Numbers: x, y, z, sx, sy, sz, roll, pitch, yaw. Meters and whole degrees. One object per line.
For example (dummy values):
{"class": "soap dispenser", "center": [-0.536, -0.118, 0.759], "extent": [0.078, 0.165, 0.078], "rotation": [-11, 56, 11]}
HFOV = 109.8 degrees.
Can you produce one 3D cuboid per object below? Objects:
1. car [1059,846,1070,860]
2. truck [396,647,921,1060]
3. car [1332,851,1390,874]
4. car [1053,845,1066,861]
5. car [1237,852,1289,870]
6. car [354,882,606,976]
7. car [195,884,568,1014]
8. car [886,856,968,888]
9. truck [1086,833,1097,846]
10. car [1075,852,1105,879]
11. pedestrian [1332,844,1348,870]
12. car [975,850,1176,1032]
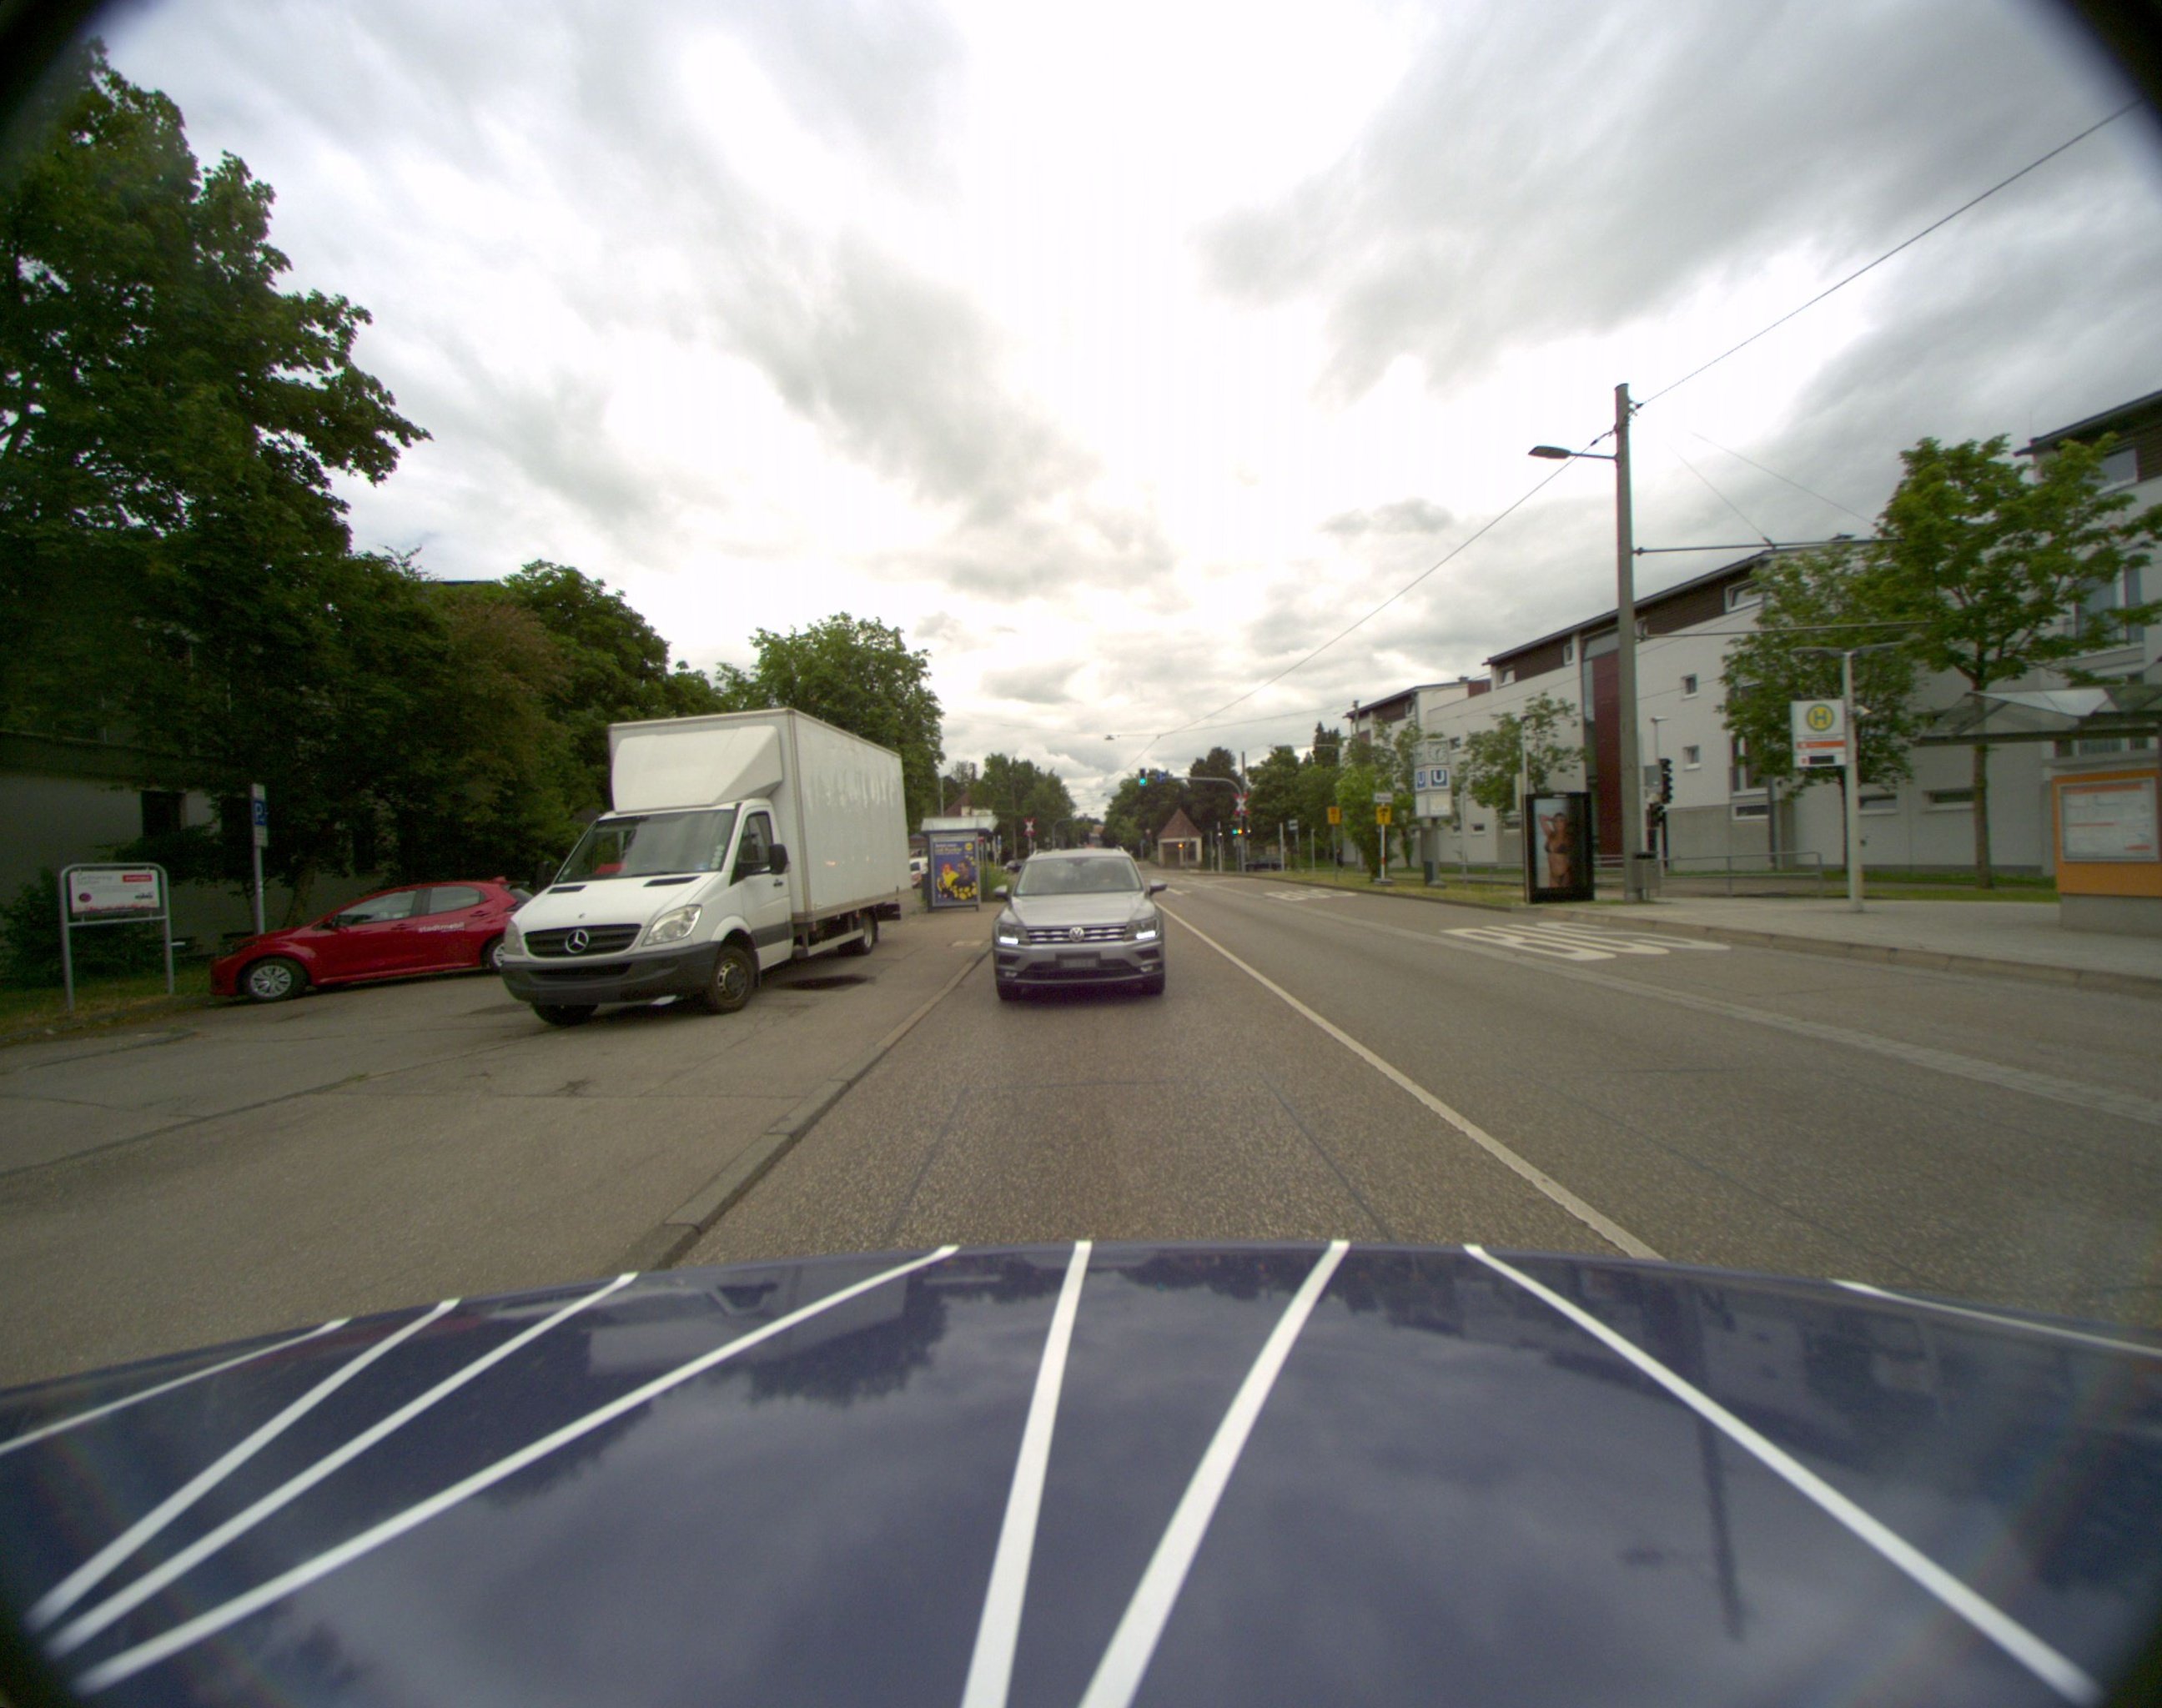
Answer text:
{"class": "car", "center": [-3.262, -0.211, 150.235], "extent": [2.046, 2.588, 5.966], "rotation": [-2, 1, 0]}
{"class": "truck", "center": [-4.505, -0.002, 10.523], "extent": [2.579, 3.504, 7.810], "rotation": [-2, 0, 2]}
{"class": "car", "center": [25.660, 0.758, 69.733], "extent": [4.469, 2.002, 1.999], "rotation": [2, 0, -6]}
{"class": "car", "center": [-3.778, -0.221, 132.310], "extent": [2.095, 2.589, 6.679], "rotation": [-2, 1, -2]}
{"class": "car", "center": [17.654, 0.690, 73.869], "extent": [4.488, 1.660, 1.964], "rotation": [1, 0, -7]}
{"class": "car", "center": [-12.181, 1.451, 15.754], "extent": [3.809, 1.465, 1.794], "rotation": [-3, 1, -30]}
{"class": "car", "center": [-10.065, 1.287, 11.345], "extent": [3.734, 1.437, 1.605], "rotation": [-3, 0, -26]}
{"class": "car", "center": [-9.167, 1.045, 45.563], "extent": [1.846, 1.738, 4.704], "rotation": [-2, 0, 38]}
{"class": "truck", "center": [2.881, -4.123, 215.098], "extent": [2.776, 3.697, 8.466], "rotation": [0, 1, -1]}
{"class": "car", "center": [0.561, 0.778, 52.456], "extent": [1.811, 1.736, 3.999], "rotation": [-2, 0, -2]}
{"class": "pedestrian", "center": [16.352, 0.202, 47.987], "extent": [0.677, 1.634, 0.819], "rotation": [-1, -1, -5]}
{"class": "car", "center": [-0.173, 0.825, 9.604], "extent": [1.835, 1.610, 4.486], "rotation": [-4, 1, -3]}
